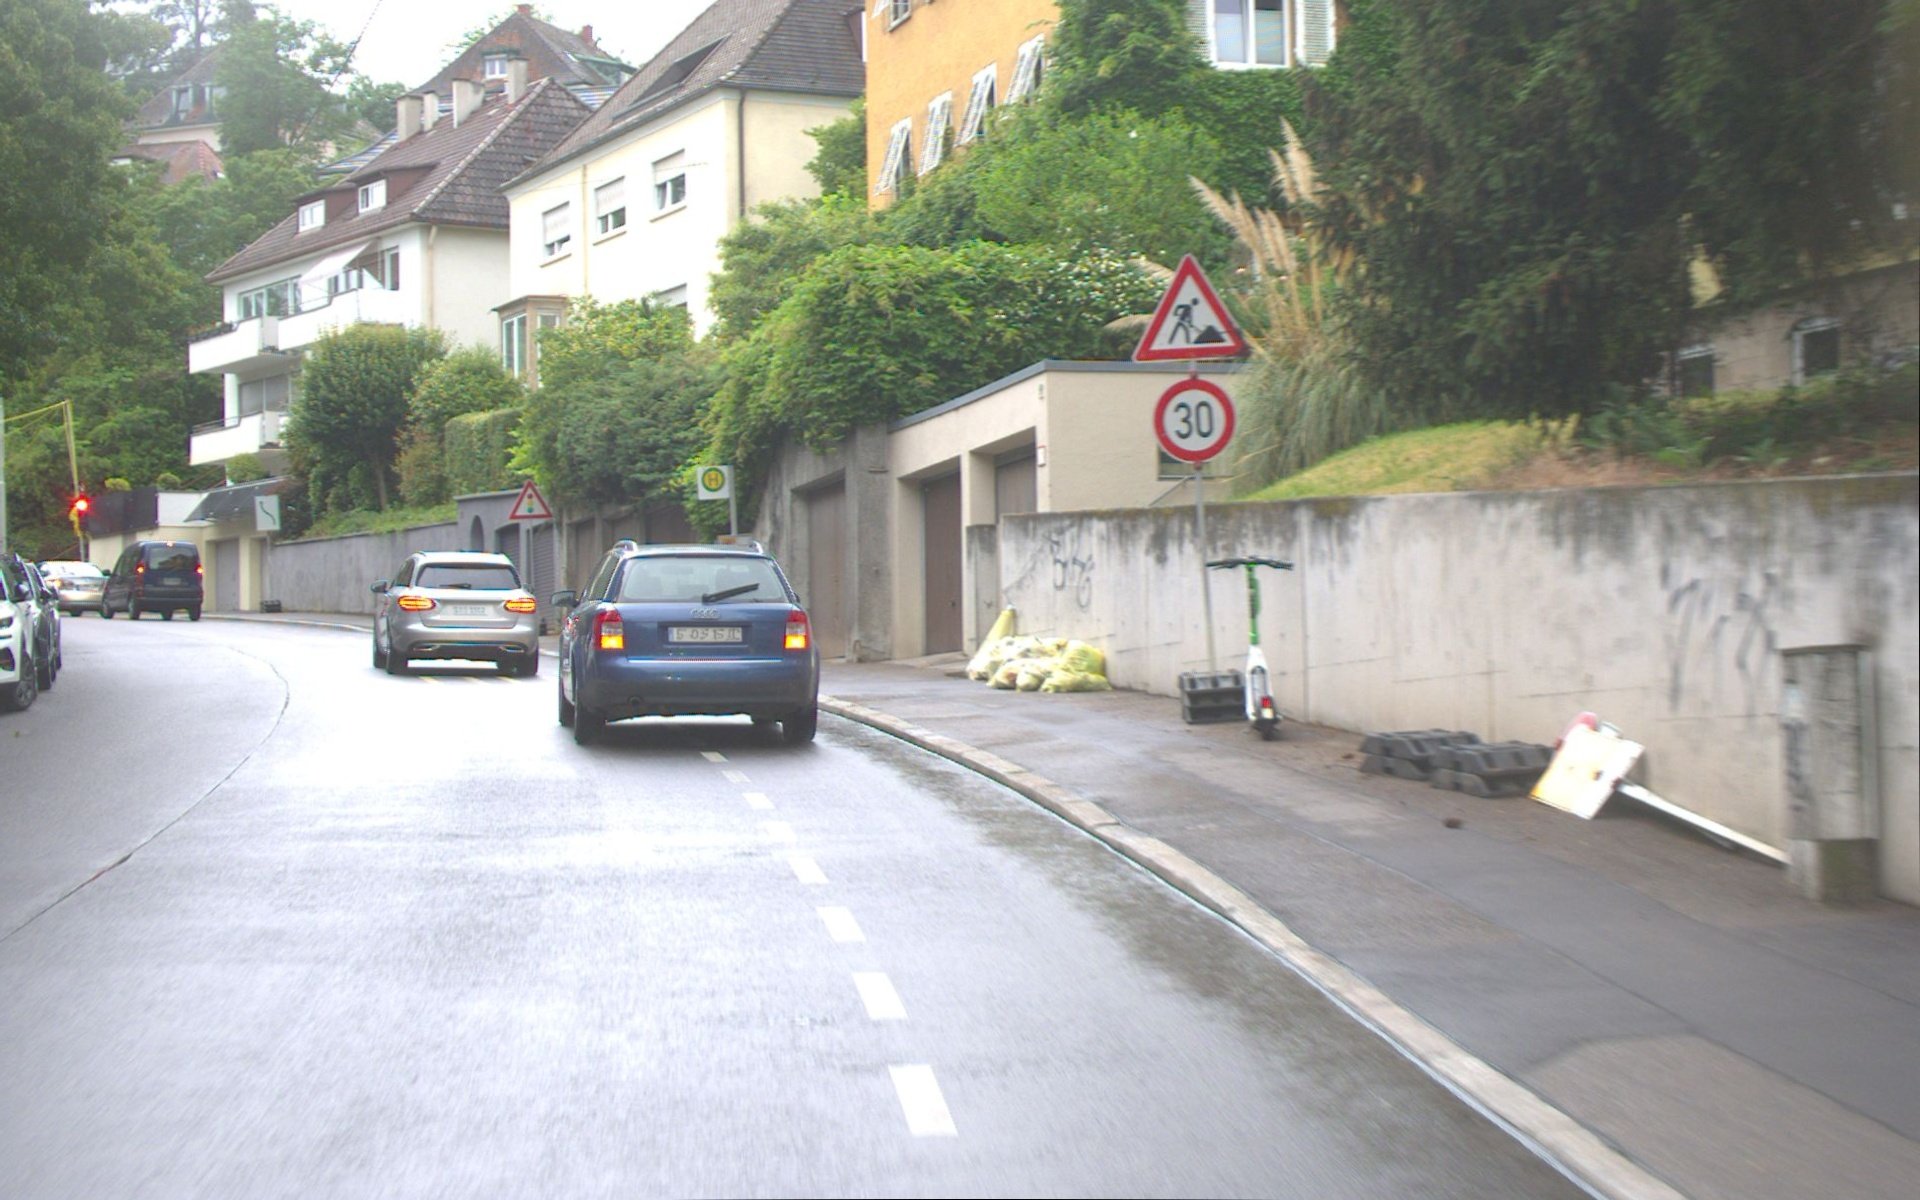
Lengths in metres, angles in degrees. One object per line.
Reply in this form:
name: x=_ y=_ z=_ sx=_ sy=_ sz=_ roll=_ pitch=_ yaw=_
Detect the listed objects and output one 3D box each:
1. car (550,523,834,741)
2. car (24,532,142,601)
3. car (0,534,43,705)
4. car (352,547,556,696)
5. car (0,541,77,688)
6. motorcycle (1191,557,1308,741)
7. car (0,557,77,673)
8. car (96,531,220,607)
car: x=-2.096 y=0.205 z=25.793 sx=1.853 sy=1.409 sz=4.362 roll=-3 pitch=1 yaw=-7
car: x=-22.417 y=-0.844 z=87.758 sx=1.993 sy=1.678 sz=4.000 roll=-2 pitch=1 yaw=-28
car: x=-10.119 y=0.186 z=33.909 sx=1.877 sy=1.591 sz=4.001 roll=-2 pitch=1 yaw=-13
car: x=-6.235 y=0.214 z=41.992 sx=1.949 sy=1.556 sz=4.265 roll=-1 pitch=3 yaw=-15
car: x=-11.190 y=0.179 z=39.268 sx=1.993 sy=1.568 sz=4.001 roll=-3 pitch=1 yaw=-13
motorcycle: x=1.856 y=0.299 z=22.195 sx=0.548 sy=1.128 sz=1.440 roll=-2 pitch=1 yaw=-2
car: x=-13.028 y=0.219 z=46.349 sx=1.993 sy=1.470 sz=4.001 roll=-3 pitch=1 yaw=-16
car: x=-18.930 y=-0.721 z=81.022 sx=1.993 sy=1.678 sz=4.001 roll=-2 pitch=1 yaw=-25
